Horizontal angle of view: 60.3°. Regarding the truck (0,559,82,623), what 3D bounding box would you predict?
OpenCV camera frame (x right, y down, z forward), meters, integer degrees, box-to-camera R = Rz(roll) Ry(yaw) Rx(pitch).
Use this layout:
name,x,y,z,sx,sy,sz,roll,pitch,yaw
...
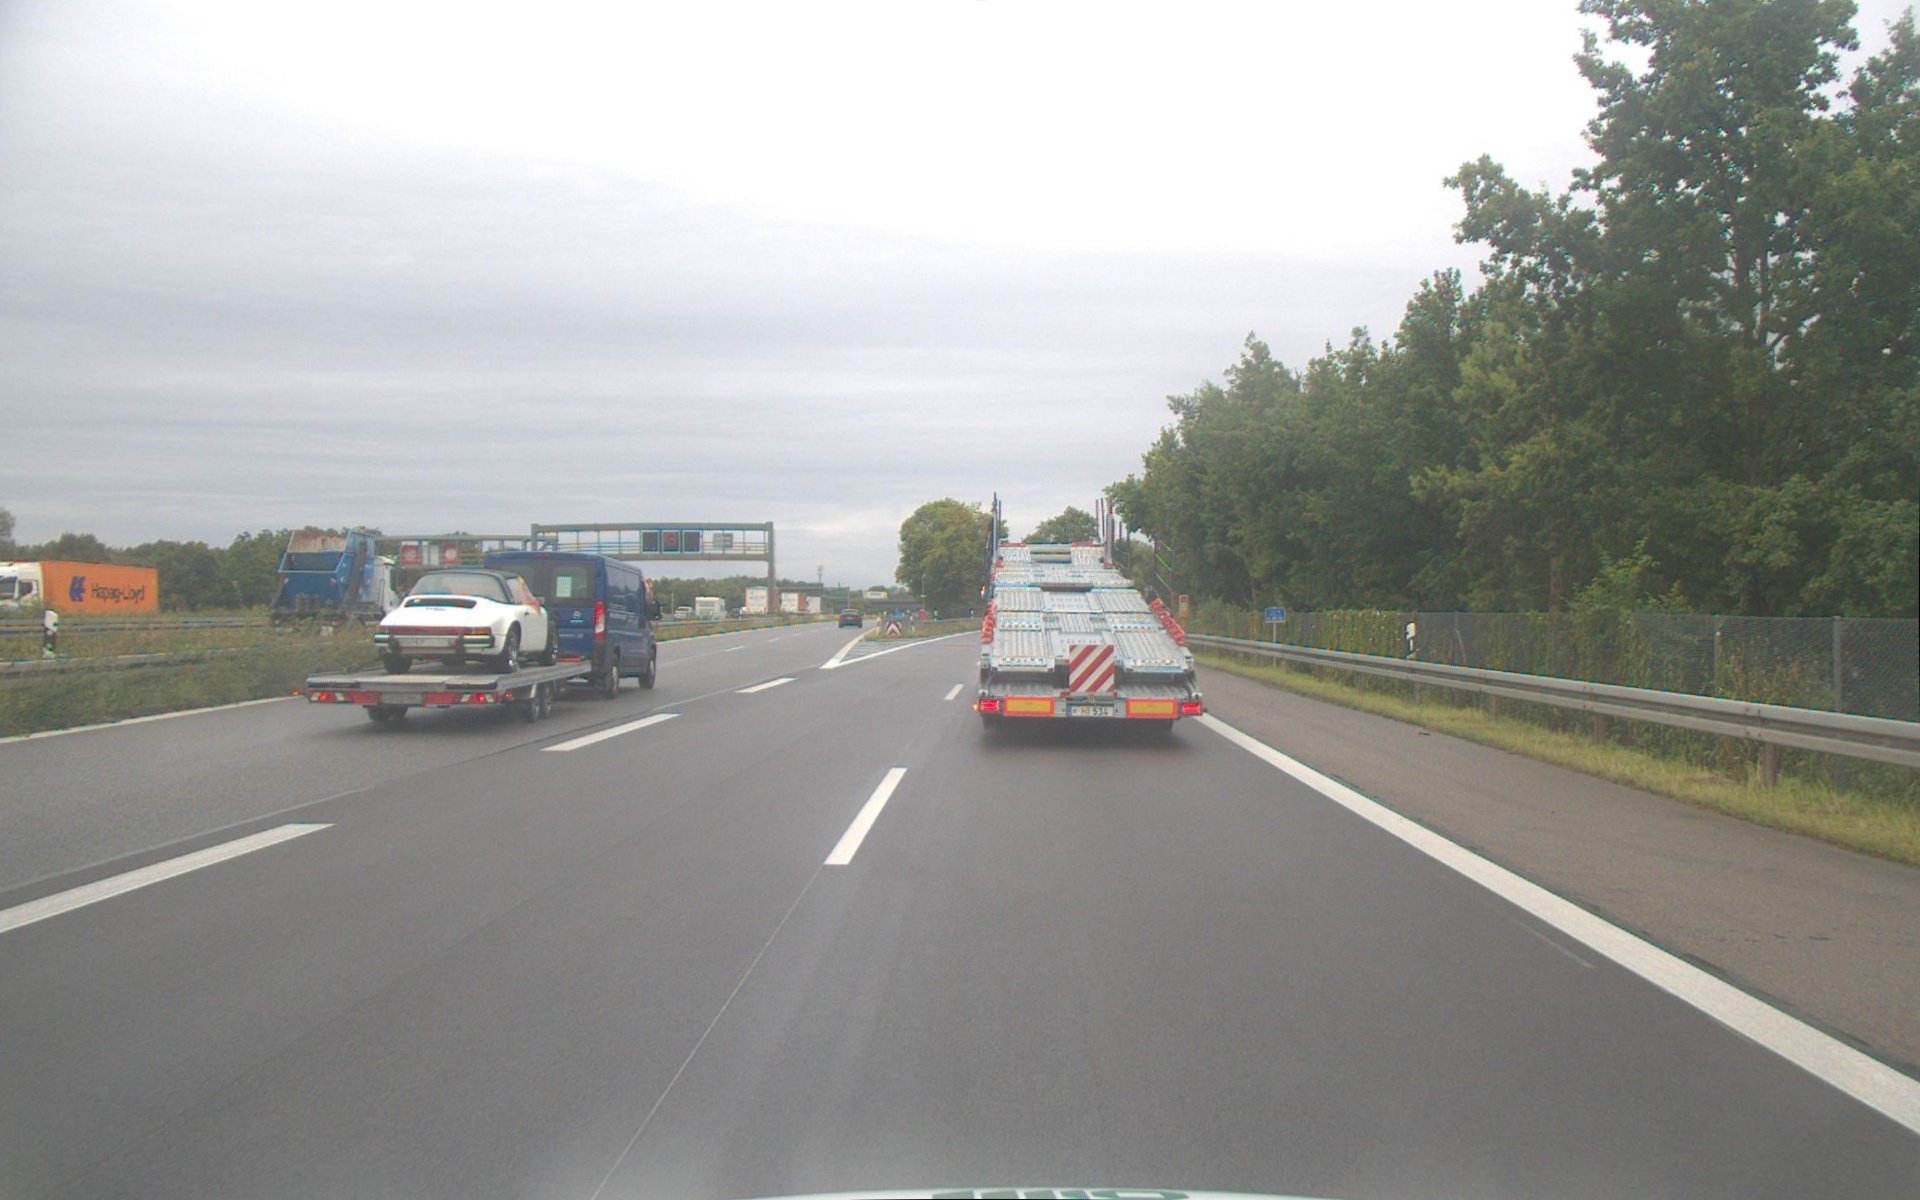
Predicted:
name,x,y,z,sx,sy,sz,roll,pitch,yaw
truck,-48.102,-0.425,85.020,2.631,3.127,6.452,1,-1,-2

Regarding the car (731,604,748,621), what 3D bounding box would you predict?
name,x,y,z,sx,sy,sz,roll,pitch,yaw
car,-28.226,1.598,211.978,1.695,2.049,3.998,1,-1,-2

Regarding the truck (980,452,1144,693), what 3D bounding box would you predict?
name,x,y,z,sx,sy,sz,roll,pitch,yaw
truck,1.996,-0.470,32.922,2.681,4.037,9.132,2,0,3

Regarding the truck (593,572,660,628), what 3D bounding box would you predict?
name,x,y,z,sx,sy,sz,roll,pitch,yaw
truck,-21.549,0.026,107.375,2.799,3.424,8.627,1,0,-2

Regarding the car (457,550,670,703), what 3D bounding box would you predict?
name,x,y,z,sx,sy,sz,roll,pitch,yaw
car,-6.629,0.427,28.528,2.325,2.306,6.254,1,0,-2

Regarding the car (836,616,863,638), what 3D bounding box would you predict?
name,x,y,z,sx,sy,sz,roll,pitch,yaw
car,-8.753,2.154,131.671,1.922,1.666,5.623,1,-1,-2

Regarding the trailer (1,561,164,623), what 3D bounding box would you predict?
name,x,y,z,sx,sy,sz,roll,pitch,yaw
trailer,-48.350,-0.337,91.687,2.631,3.127,12.561,1,-1,-2

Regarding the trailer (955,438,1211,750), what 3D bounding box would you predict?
name,x,y,z,sx,sy,sz,roll,pitch,yaw
trailer,1.540,-0.062,23.149,2.720,3.342,10.410,1,0,2

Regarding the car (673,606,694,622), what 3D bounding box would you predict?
name,x,y,z,sx,sy,sz,roll,pitch,yaw
car,-27.277,1.391,163.430,1.649,1.557,3.997,1,0,-4

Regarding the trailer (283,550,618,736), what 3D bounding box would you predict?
name,x,y,z,sx,sy,sz,roll,pitch,yaw
trailer,-6.385,0.500,21.908,2.435,2.029,7.060,1,0,-2

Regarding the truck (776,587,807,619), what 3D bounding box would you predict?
name,x,y,z,sx,sy,sz,roll,pitch,yaw
truck,-24.695,0.414,242.850,3.658,4.494,11.892,1,0,-2

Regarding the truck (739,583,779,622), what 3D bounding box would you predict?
name,x,y,z,sx,sy,sz,roll,pitch,yaw
truck,-23.679,0.288,195.393,3.658,4.494,10.191,1,0,-2

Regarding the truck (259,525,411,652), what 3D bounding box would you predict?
name,x,y,z,sx,sy,sz,roll,pitch,yaw
truck,-20.405,-0.307,54.485,2.586,3.879,7.337,1,-1,-4

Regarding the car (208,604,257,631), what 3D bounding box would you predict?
name,x,y,z,sx,sy,sz,roll,pitch,yaw
car,-53.272,1.273,121.184,1.982,1.942,3.998,0,0,-3

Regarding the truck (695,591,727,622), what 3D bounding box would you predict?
name,x,y,z,sx,sy,sz,roll,pitch,yaw
truck,-22.613,0.574,150.186,2.198,2.751,5.277,1,0,-2
